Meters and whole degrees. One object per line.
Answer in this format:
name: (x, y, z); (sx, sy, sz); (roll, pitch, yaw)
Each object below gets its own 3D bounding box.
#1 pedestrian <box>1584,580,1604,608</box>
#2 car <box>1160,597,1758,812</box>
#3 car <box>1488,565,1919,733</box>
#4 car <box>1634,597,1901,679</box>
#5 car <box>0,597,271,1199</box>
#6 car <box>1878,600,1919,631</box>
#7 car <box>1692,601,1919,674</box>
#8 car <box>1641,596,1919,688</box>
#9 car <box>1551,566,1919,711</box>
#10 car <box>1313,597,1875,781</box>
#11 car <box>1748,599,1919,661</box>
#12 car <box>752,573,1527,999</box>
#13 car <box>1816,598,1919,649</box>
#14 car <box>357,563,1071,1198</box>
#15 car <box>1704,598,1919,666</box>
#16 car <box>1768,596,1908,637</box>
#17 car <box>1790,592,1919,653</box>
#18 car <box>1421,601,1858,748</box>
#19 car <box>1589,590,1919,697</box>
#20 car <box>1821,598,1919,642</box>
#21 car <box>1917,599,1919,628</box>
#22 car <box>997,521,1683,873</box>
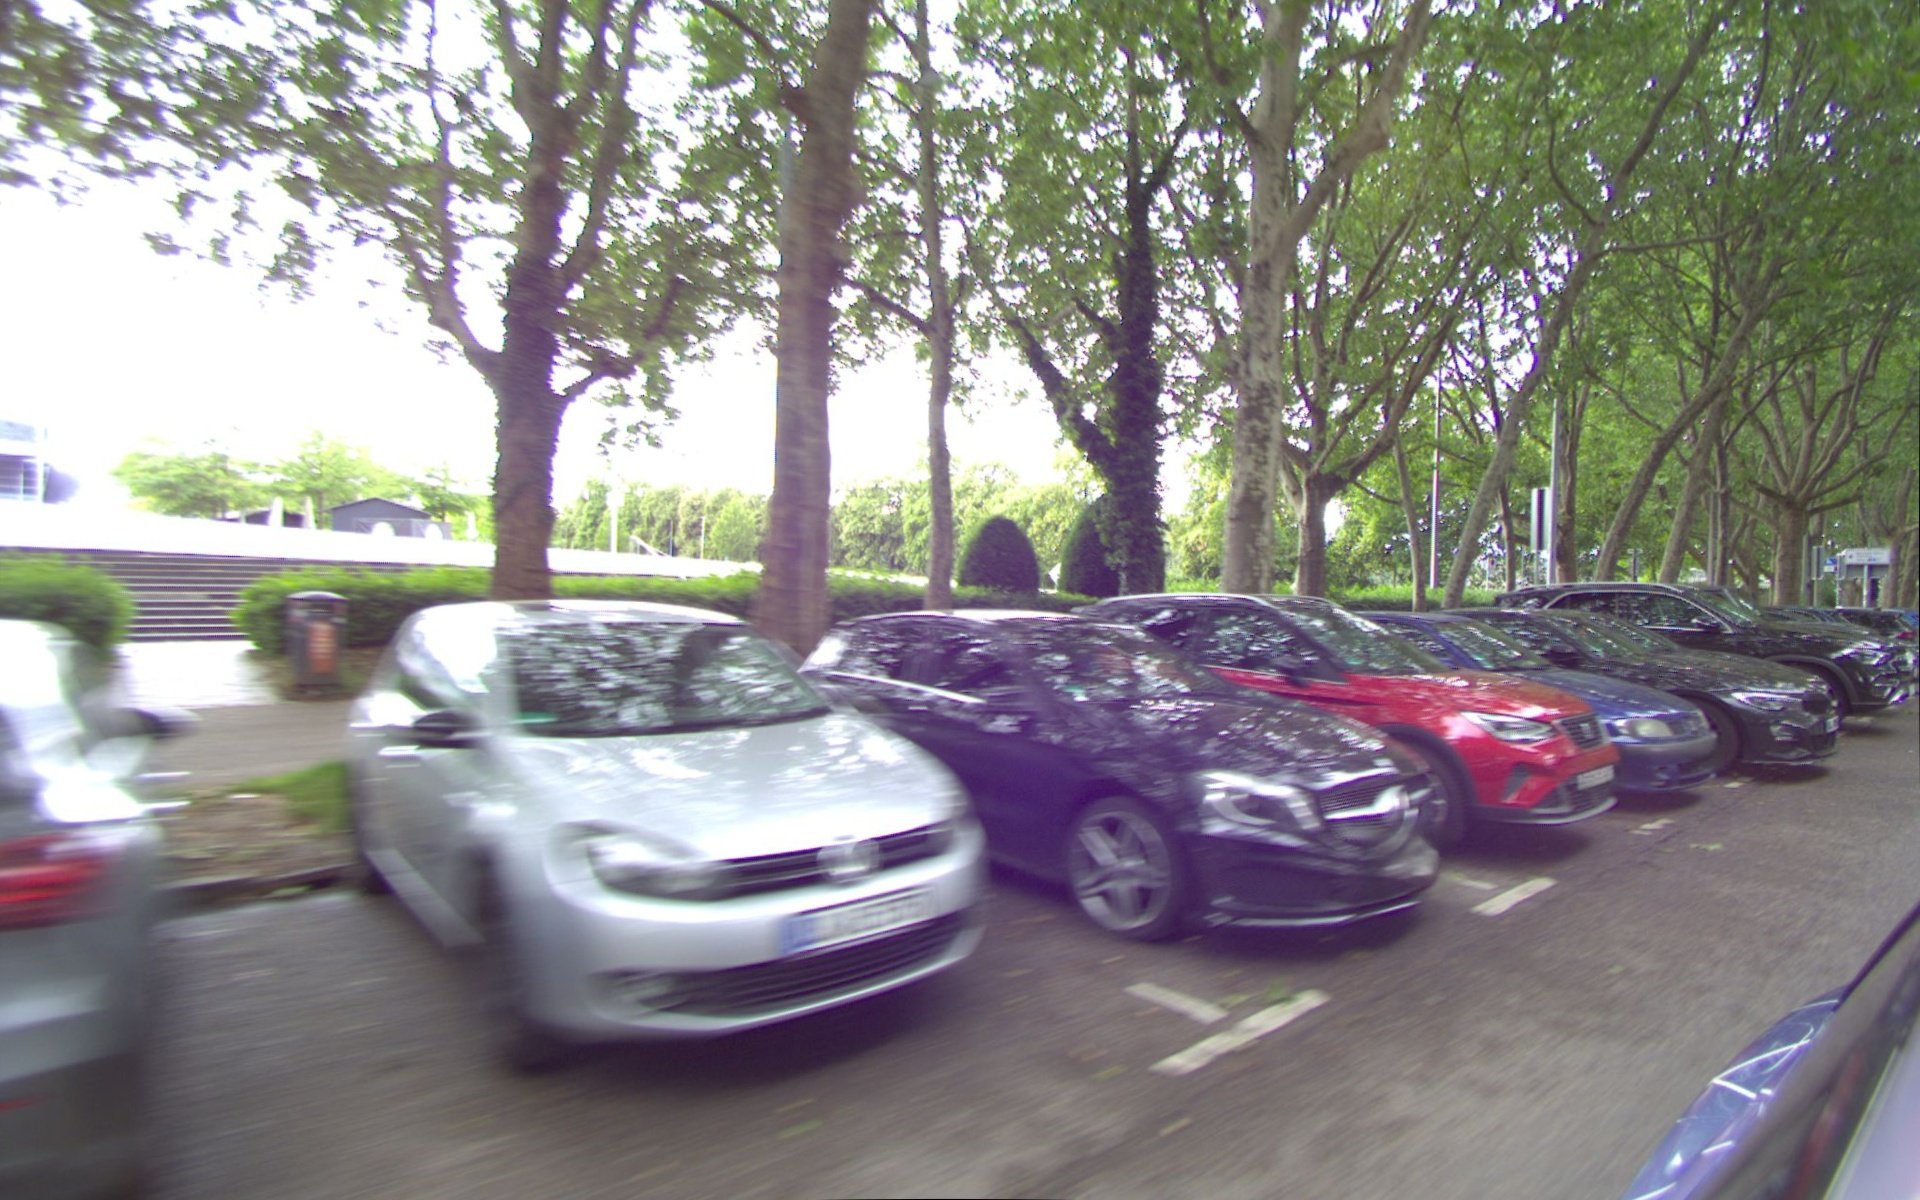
pedestrian: (35.839, -0.341, 57.213); (0.685, 1.587, 0.725); (0, 0, -35)
car: (4.137, 0.692, 9.098); (1.796, 1.438, 4.505); (0, 0, -39)
car: (9.680, 0.531, 13.264); (2.011, 1.819, 4.503); (1, -1, -41)
car: (16.780, 0.709, 21.182); (1.755, 1.538, 4.199); (1, -1, -44)
car: (-3.499, 0.706, 3.071); (1.891, 1.431, 4.354); (1, 0, -40)
car: (48.869, 0.771, 50.167); (1.966, 1.525, 4.824); (0, -1, -42)
car: (18.867, 0.770, 22.311); (1.755, 1.474, 4.199); (1, -1, -44)
car: (15.430, 0.718, 18.900); (1.754, 1.538, 4.202); (0, 0, -41)
car: (11.868, 0.501, 15.479); (2.010, 1.890, 4.505); (1, 0, -39)
car: (6.139, 0.693, 10.294); (1.898, 1.446, 4.504); (0, 0, -40)
car: (22.623, 0.728, 25.669); (4.015, 1.466, 1.884); (0, -1, 44)
car: (0.622, 0.666, 5.941); (1.890, 1.521, 4.357); (1, 0, -38)
car: (28.247, 0.696, 30.245); (1.688, 1.435, 3.838); (1, 0, -40)
car: (-1.611, 0.676, 4.781); (1.888, 1.521, 4.361); (1, 0, -34)
car: (20.460, 0.708, 24.088); (1.755, 1.474, 4.199); (1, -1, -44)
car: (37.054, 0.651, 42.770); (1.754, 1.480, 4.283); (0, 2, -42)
car: (26.565, 0.624, 28.588); (2.018, 1.644, 4.533); (1, 0, -40)
car: (7.828, 0.729, 11.984); (1.708, 1.408, 3.992); (0, 0, -39)
car: (13.772, 0.651, 17.508); (2.010, 1.592, 4.507); (1, 0, -37)
car: (31.890, 0.663, 33.756); (1.687, 1.435, 4.600); (1, 0, -37)
car: (51.206, 0.723, 50.879); (1.966, 1.496, 4.377); (0, 1, -42)
car: (2.470, 0.504, 7.655); (2.009, 1.819, 4.508); (1, 0, -37)
